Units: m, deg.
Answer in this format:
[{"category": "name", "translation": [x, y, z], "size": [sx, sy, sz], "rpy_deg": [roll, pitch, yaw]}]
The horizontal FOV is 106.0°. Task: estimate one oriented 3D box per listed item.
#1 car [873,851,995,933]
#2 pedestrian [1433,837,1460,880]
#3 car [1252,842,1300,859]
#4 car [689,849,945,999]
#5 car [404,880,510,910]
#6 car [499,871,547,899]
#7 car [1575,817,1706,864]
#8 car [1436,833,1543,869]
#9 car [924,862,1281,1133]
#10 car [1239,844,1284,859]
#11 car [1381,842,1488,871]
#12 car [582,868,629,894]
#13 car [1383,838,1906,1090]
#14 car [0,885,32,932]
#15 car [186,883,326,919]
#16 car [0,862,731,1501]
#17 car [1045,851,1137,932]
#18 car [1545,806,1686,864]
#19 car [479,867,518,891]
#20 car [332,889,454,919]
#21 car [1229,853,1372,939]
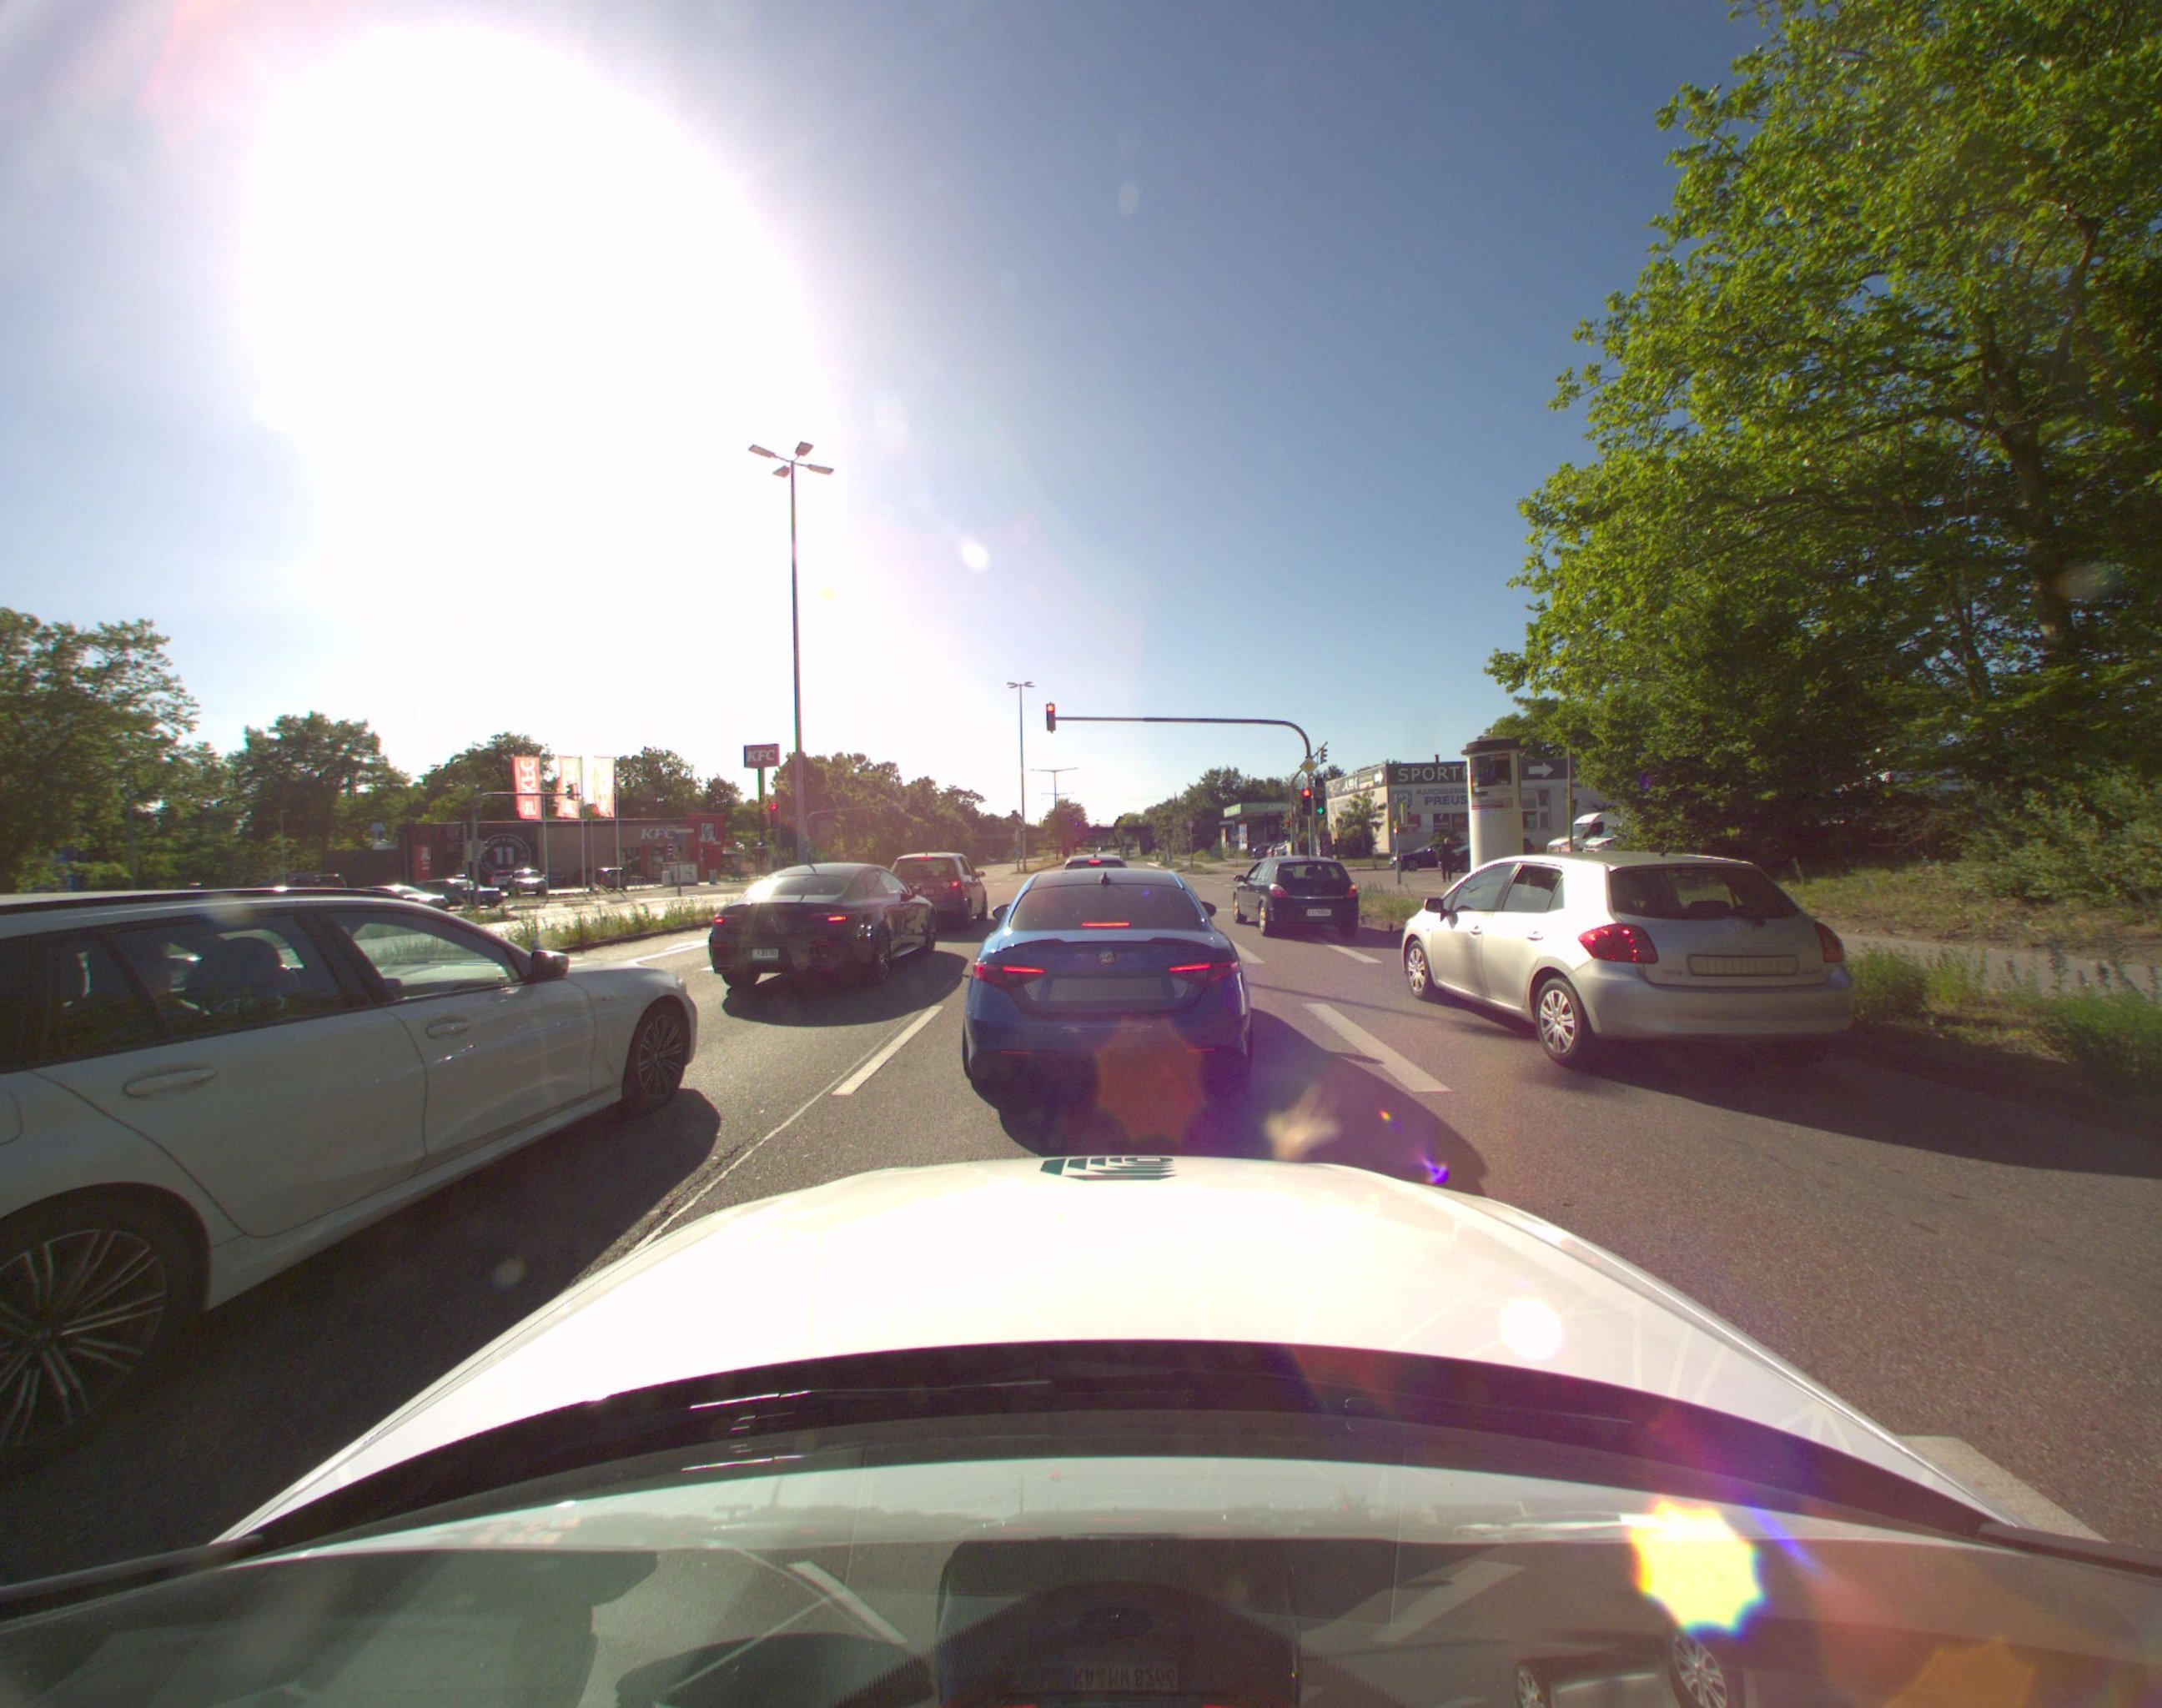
[{"category": "car", "translation": [-3.010, 0.739, 17.607], "size": [1.806, 1.551, 4.353], "rpy_deg": [0, -1, 0]}, {"category": "pedestrian", "translation": [14.190, 0.186, 31.647], "size": [0.814, 1.669, 0.514], "rpy_deg": [0, -1, 1]}, {"category": "car", "translation": [17.817, -0.313, 74.440], "size": [3.971, 1.552, 2.001], "rpy_deg": [0, -1, 2]}, {"category": "car", "translation": [-3.155, 0.728, 10.828], "size": [1.806, 1.551, 4.544], "rpy_deg": [-1, 0, 1]}, {"category": "car", "translation": [-31.921, 2.096, 41.737], "size": [3.940, 1.453, 1.937], "rpy_deg": [0, -1, 1]}, {"category": "car", "translation": [-37.382, 2.024, 54.541], "size": [1.946, 1.740, 4.046], "rpy_deg": [0, -1, -45]}, {"category": "car", "translation": [26.696, -0.627, 38.959], "size": [4.937, 2.035, 1.881], "rpy_deg": [-2, -1, 0]}, {"category": "car", "translation": [19.419, -0.116, 38.813], "size": [4.291, 1.650, 1.638], "rpy_deg": [0, -1, 1]}, {"category": "car", "translation": [0.222, 0.786, 6.218], "size": [1.901, 1.423, 3.722], "rpy_deg": [0, -1, 3]}, {"category": "car", "translation": [18.357, -0.253, 82.973], "size": [3.995, 1.552, 1.989], "rpy_deg": [0, -1, -16]}, {"category": "car", "translation": [18.325, 0.125, 42.307], "size": [4.803, 1.468, 1.758], "rpy_deg": [0, -1, 0]}, {"category": "car", "translation": [-33.915, 1.869, 58.012], "size": [1.946, 1.740, 4.046], "rpy_deg": [0, -1, -45]}, {"category": "car", "translation": [4.210, 0.666, 7.042], "size": [1.777, 1.537, 4.109], "rpy_deg": [0, 0, 2]}, {"category": "car", "translation": [-34.815, 1.733, 24.561], "size": [1.999, 1.442, 3.974], "rpy_deg": [0, -1, -19]}, {"category": "car", "translation": [-39.097, 2.192, 38.677], "size": [4.608, 1.579, 1.936], "rpy_deg": [0, -1, 0]}, {"category": "car", "translation": [-3.453, 0.825, 3.405], "size": [1.805, 1.486, 4.599], "rpy_deg": [-1, 0, 2]}, {"category": "car", "translation": [0.303, 0.721, 17.048], "size": [1.696, 1.497, 3.722], "rpy_deg": [0, -1, 3]}, {"category": "car", "translation": [27.523, -0.930, 42.101], "size": [5.812, 2.672, 2.001], "rpy_deg": [-3, -1, 2]}, {"category": "car", "translation": [-45.430, 1.898, 63.518], "size": [2.011, 1.813, 3.727], "rpy_deg": [0, -1, -43]}, {"category": "car", "translation": [-32.184, 2.318, 38.194], "size": [4.070, 1.252, 1.871], "rpy_deg": [0, -1, 0]}, {"category": "car", "translation": [4.085, 0.712, 15.906], "size": [1.727, 1.442, 4.373], "rpy_deg": [0, 0, 2]}]
